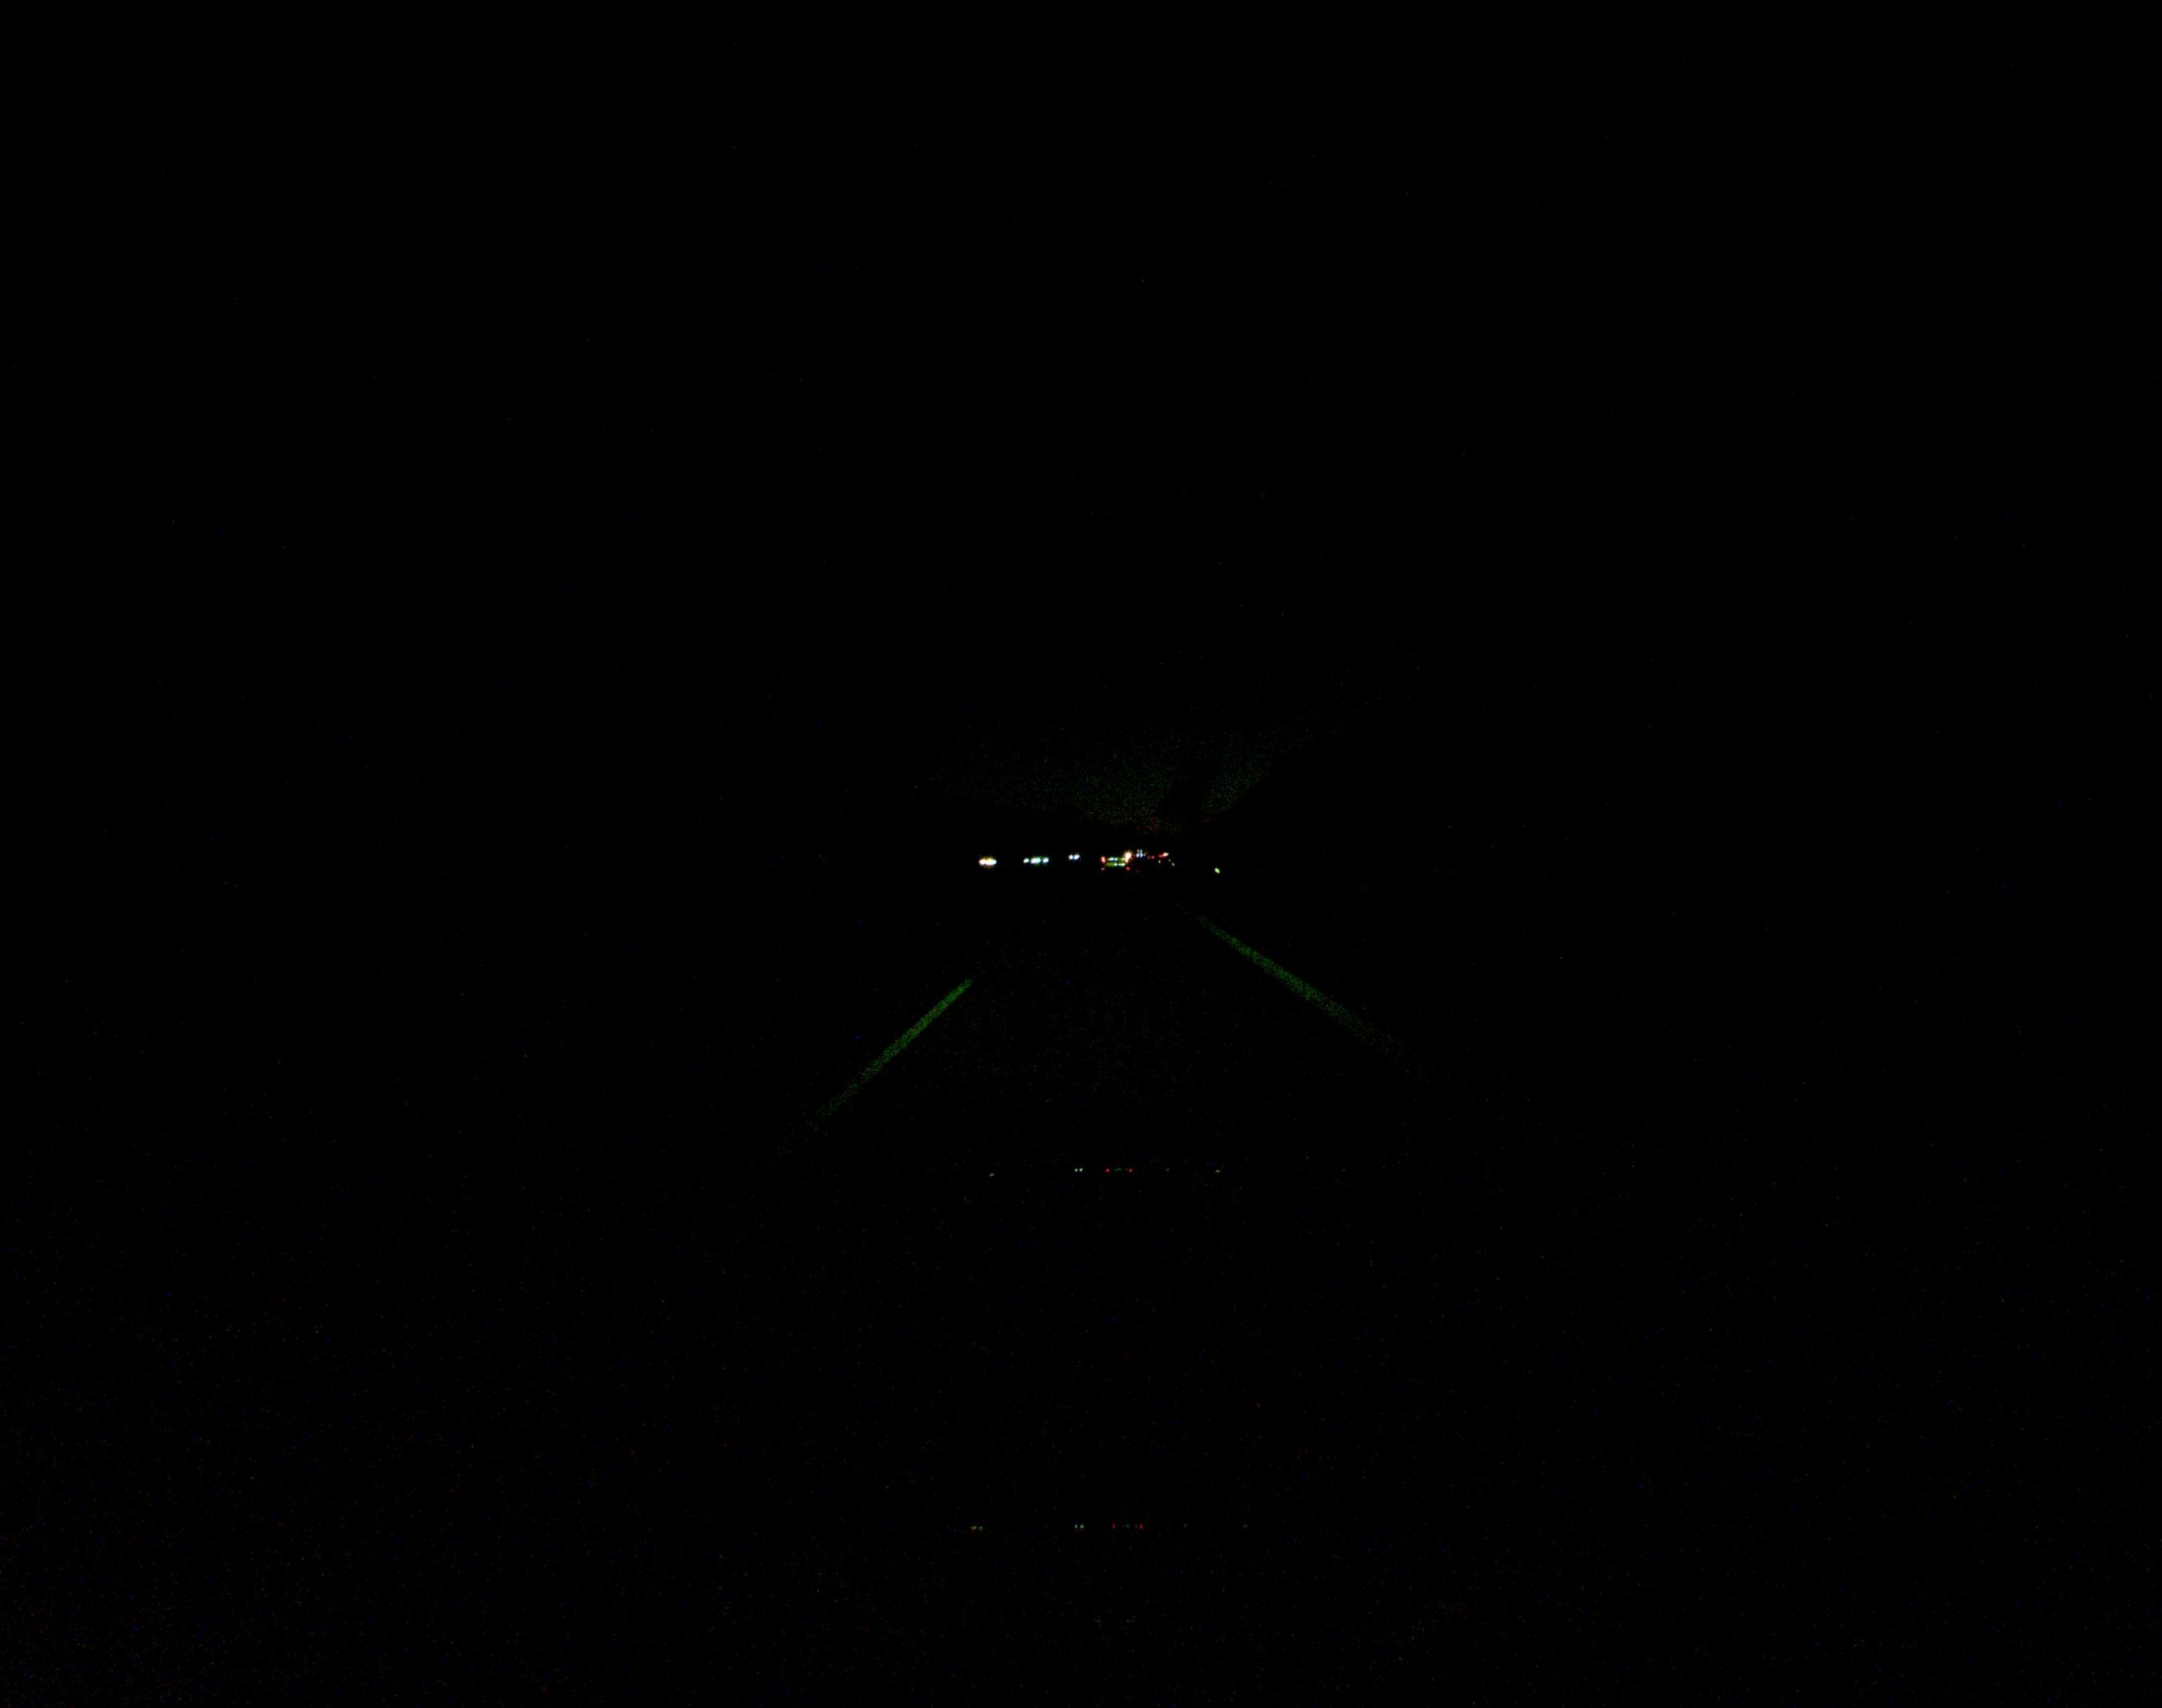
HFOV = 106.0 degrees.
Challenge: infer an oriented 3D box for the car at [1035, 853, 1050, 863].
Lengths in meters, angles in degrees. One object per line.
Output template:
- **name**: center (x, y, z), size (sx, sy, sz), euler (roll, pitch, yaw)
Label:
- **car**: center (-6.932, 0.671, 146.788), size (1.984, 1.791, 4.686), euler (-1, 0, 5)

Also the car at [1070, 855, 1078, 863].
- **car**: center (-2.235, 1.590, 257.863), size (2.072, 2.487, 6.251), euler (-1, 0, 5)

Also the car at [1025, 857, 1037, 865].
- **car**: center (-9.724, 1.298, 158.598), size (1.986, 1.480, 4.932), euler (-1, 0, 2)

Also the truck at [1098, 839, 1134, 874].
- **truck**: center (2.783, 0.226, 66.279), size (2.621, 2.624, 8.685), euler (-1, 0, 1)

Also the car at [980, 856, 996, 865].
- **car**: center (-15.481, 1.073, 135.856), size (1.985, 1.508, 4.405), euler (-1, 0, 4)
